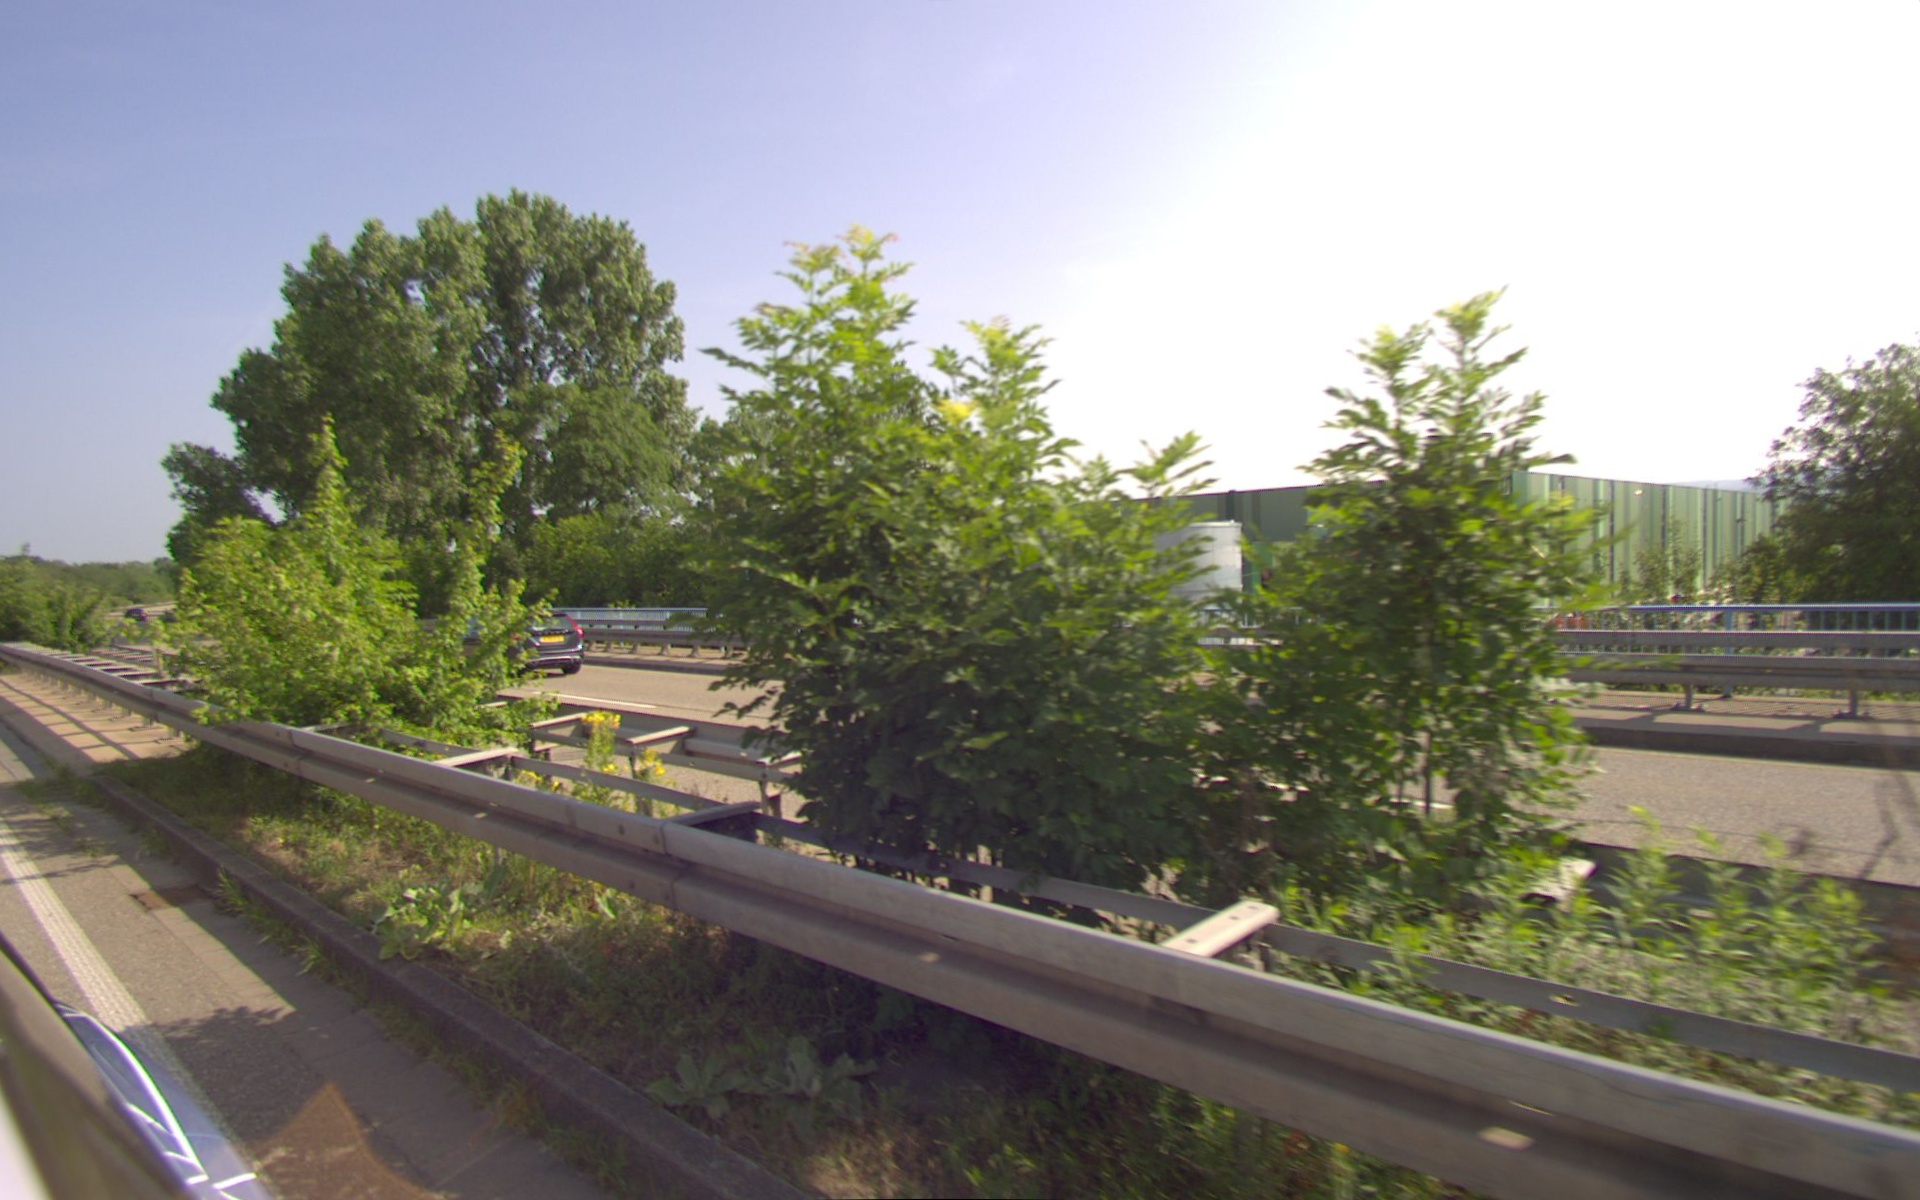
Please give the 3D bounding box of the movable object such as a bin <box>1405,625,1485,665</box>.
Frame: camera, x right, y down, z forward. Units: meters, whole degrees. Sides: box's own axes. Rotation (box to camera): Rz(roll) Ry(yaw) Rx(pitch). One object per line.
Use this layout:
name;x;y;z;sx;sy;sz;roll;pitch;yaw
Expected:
movable object such as a bin;27.888;2.540;58.249;1.834;2.028;3.799;-2;2;-44

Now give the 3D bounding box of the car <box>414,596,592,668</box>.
car;-10.047;0.636;22.057;4.834;1.380;1.690;0;1;41

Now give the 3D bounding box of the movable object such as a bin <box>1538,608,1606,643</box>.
movable object such as a bin;39.617;1.622;65.586;1.702;2.094;3.404;-2;2;-42
